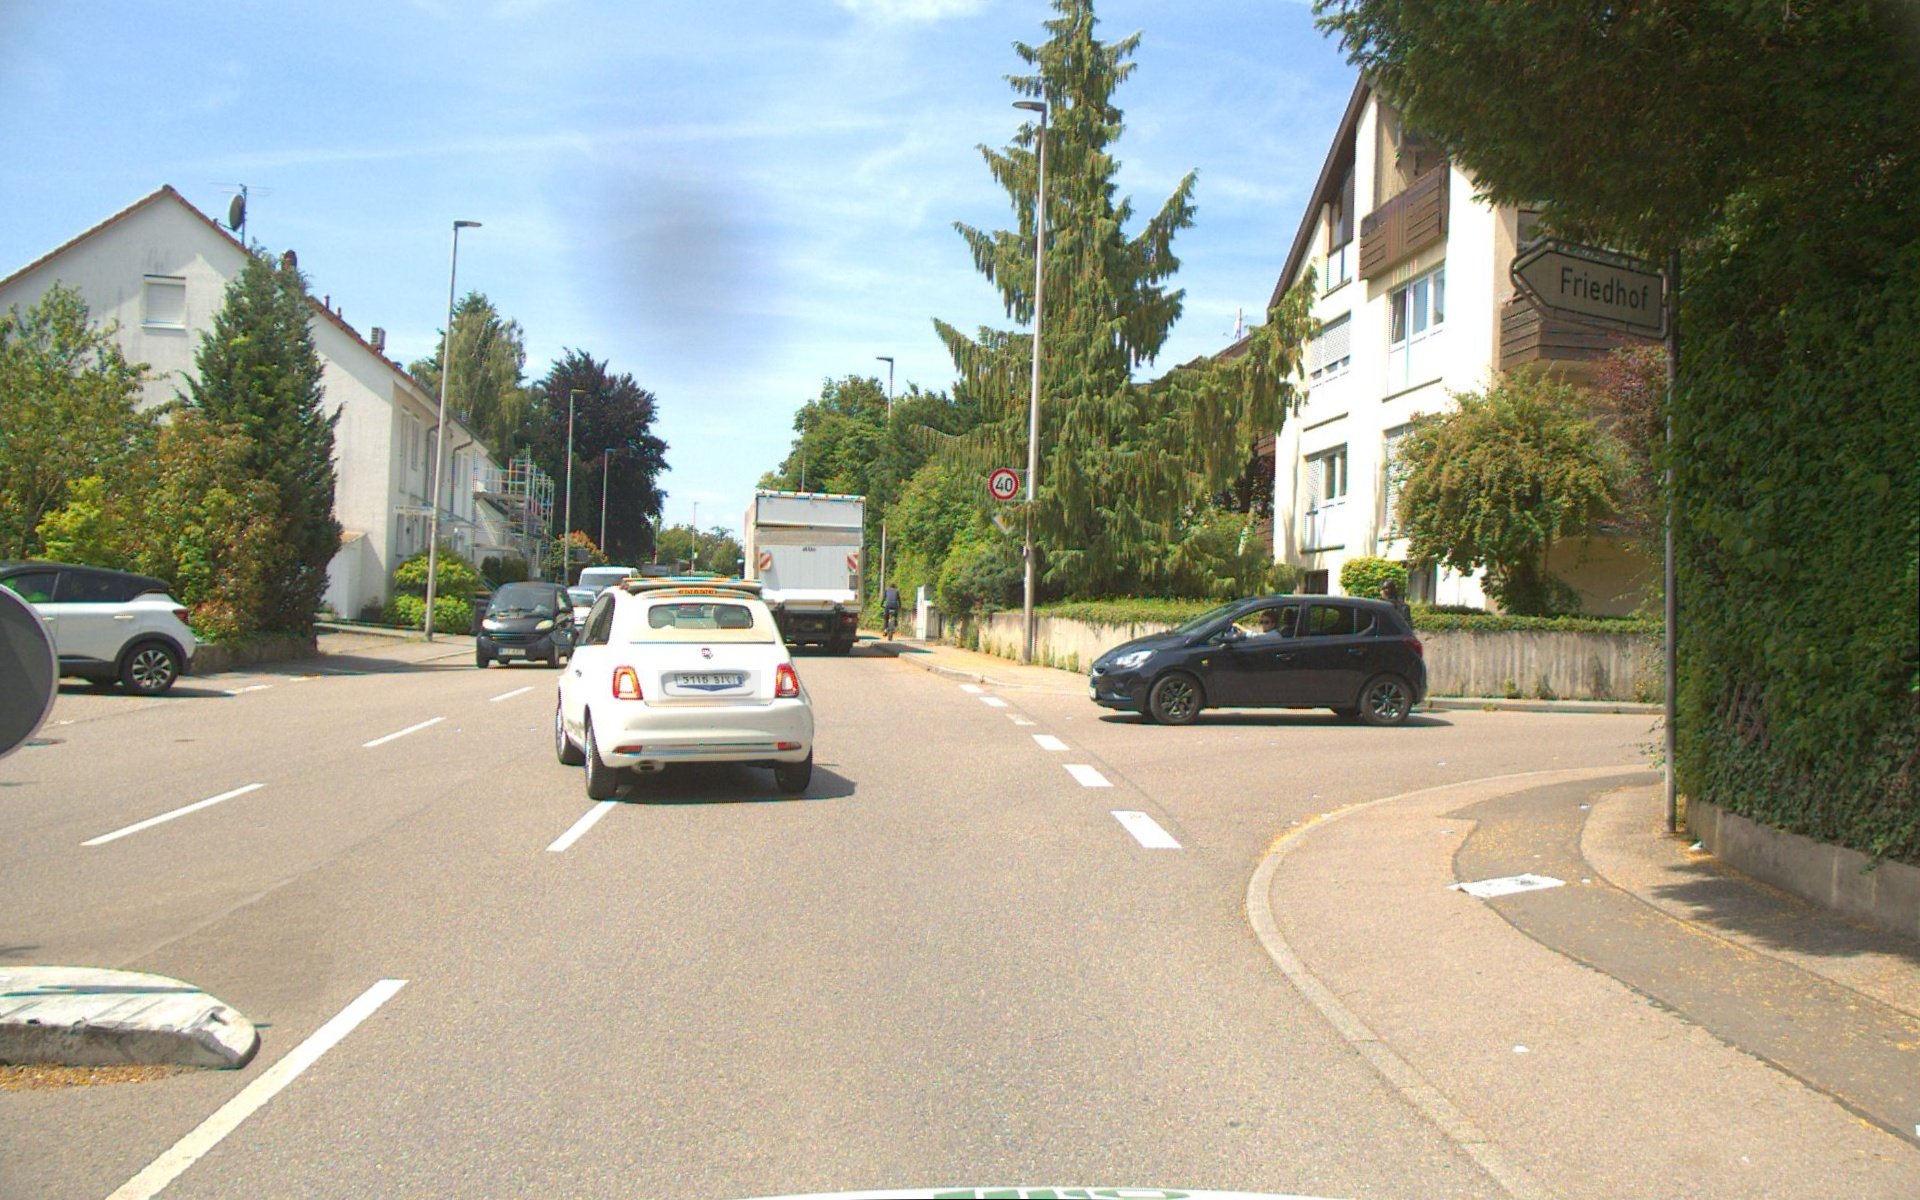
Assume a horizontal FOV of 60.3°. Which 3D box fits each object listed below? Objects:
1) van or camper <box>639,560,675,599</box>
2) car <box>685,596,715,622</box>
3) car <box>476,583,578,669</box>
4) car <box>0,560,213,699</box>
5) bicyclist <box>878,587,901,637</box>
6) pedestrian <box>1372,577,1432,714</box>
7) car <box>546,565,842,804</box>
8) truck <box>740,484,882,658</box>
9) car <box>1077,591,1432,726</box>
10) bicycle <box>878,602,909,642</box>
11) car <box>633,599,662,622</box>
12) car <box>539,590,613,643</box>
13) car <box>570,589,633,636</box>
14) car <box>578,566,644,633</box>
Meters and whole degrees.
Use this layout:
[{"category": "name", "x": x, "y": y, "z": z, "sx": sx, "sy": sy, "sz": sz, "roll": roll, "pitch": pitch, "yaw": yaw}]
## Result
[{"category": "van or camper", "x": -24.282, "y": -1.630, "z": 132.527, "sx": 2.221, "sy": 3.014, "sz": 5.881, "roll": 2, "pitch": 0, "yaw": -6}, {"category": "car", "x": -16.631, "y": 0.595, "z": 105.901, "sx": 1.799, "sy": 1.561, "sz": 3.992, "roll": 2, "pitch": 0, "yaw": -8}, {"category": "car", "x": -8.033, "y": 0.457, "z": 30.872, "sx": 1.452, "sy": 1.536, "sz": 2.796, "roll": 0, "pitch": 0, "yaw": -7}, {"category": "car", "x": -11.639, "y": 0.316, "z": 20.225, "sx": 1.757, "sy": 1.556, "sz": 4.147, "roll": 5, "pitch": -1, "yaw": 41}, {"category": "bicyclist", "x": -2.077, "y": 0.357, "z": 48.734, "sx": 0.577, "sy": 1.437, "sz": 0.741, "roll": 2, "pitch": 0, "yaw": -8}, {"category": "pedestrian", "x": 5.619, "y": 0.568, "z": 21.033, "sx": 0.681, "sy": 1.701, "sz": 0.570, "roll": 2, "pitch": 0, "yaw": 16}, {"category": "car", "x": -2.263, "y": 0.559, "z": 13.188, "sx": 1.699, "sy": 1.587, "sz": 3.978, "roll": 0, "pitch": 0, "yaw": -19}, {"category": "truck", "x": -3.843, "y": -0.647, "z": 40.934, "sx": 3.011, "sy": 3.840, "sz": 7.852, "roll": 1, "pitch": 0, "yaw": -9}, {"category": "car", "x": 3.414, "y": 0.662, "z": 19.583, "sx": 3.855, "sy": 1.483, "sz": 1.657, "roll": 1, "pitch": 0, "yaw": -4}, {"category": "bicycle", "x": -1.965, "y": 0.643, "z": 48.710, "sx": 0.655, "sy": 1.123, "sz": 2.421, "roll": 2, "pitch": 0, "yaw": -8}, {"category": "car", "x": -20.755, "y": 0.690, "z": 109.942, "sx": 1.448, "sy": 1.520, "sz": 3.078, "roll": 1, "pitch": 0, "yaw": -3}, {"category": "car", "x": -10.951, "y": 0.453, "z": 47.414, "sx": 1.771, "sy": 1.422, "sz": 3.991, "roll": 1, "pitch": 0, "yaw": -9}, {"category": "car", "x": -11.528, "y": 0.370, "z": 53.388, "sx": 1.771, "sy": 1.422, "sz": 3.959, "roll": 1, "pitch": 0, "yaw": -9}, {"category": "car", "x": -12.372, "y": -0.016, "z": 58.888, "sx": 2.000, "sy": 2.238, "sz": 5.570, "roll": 1, "pitch": 0, "yaw": -9}]
